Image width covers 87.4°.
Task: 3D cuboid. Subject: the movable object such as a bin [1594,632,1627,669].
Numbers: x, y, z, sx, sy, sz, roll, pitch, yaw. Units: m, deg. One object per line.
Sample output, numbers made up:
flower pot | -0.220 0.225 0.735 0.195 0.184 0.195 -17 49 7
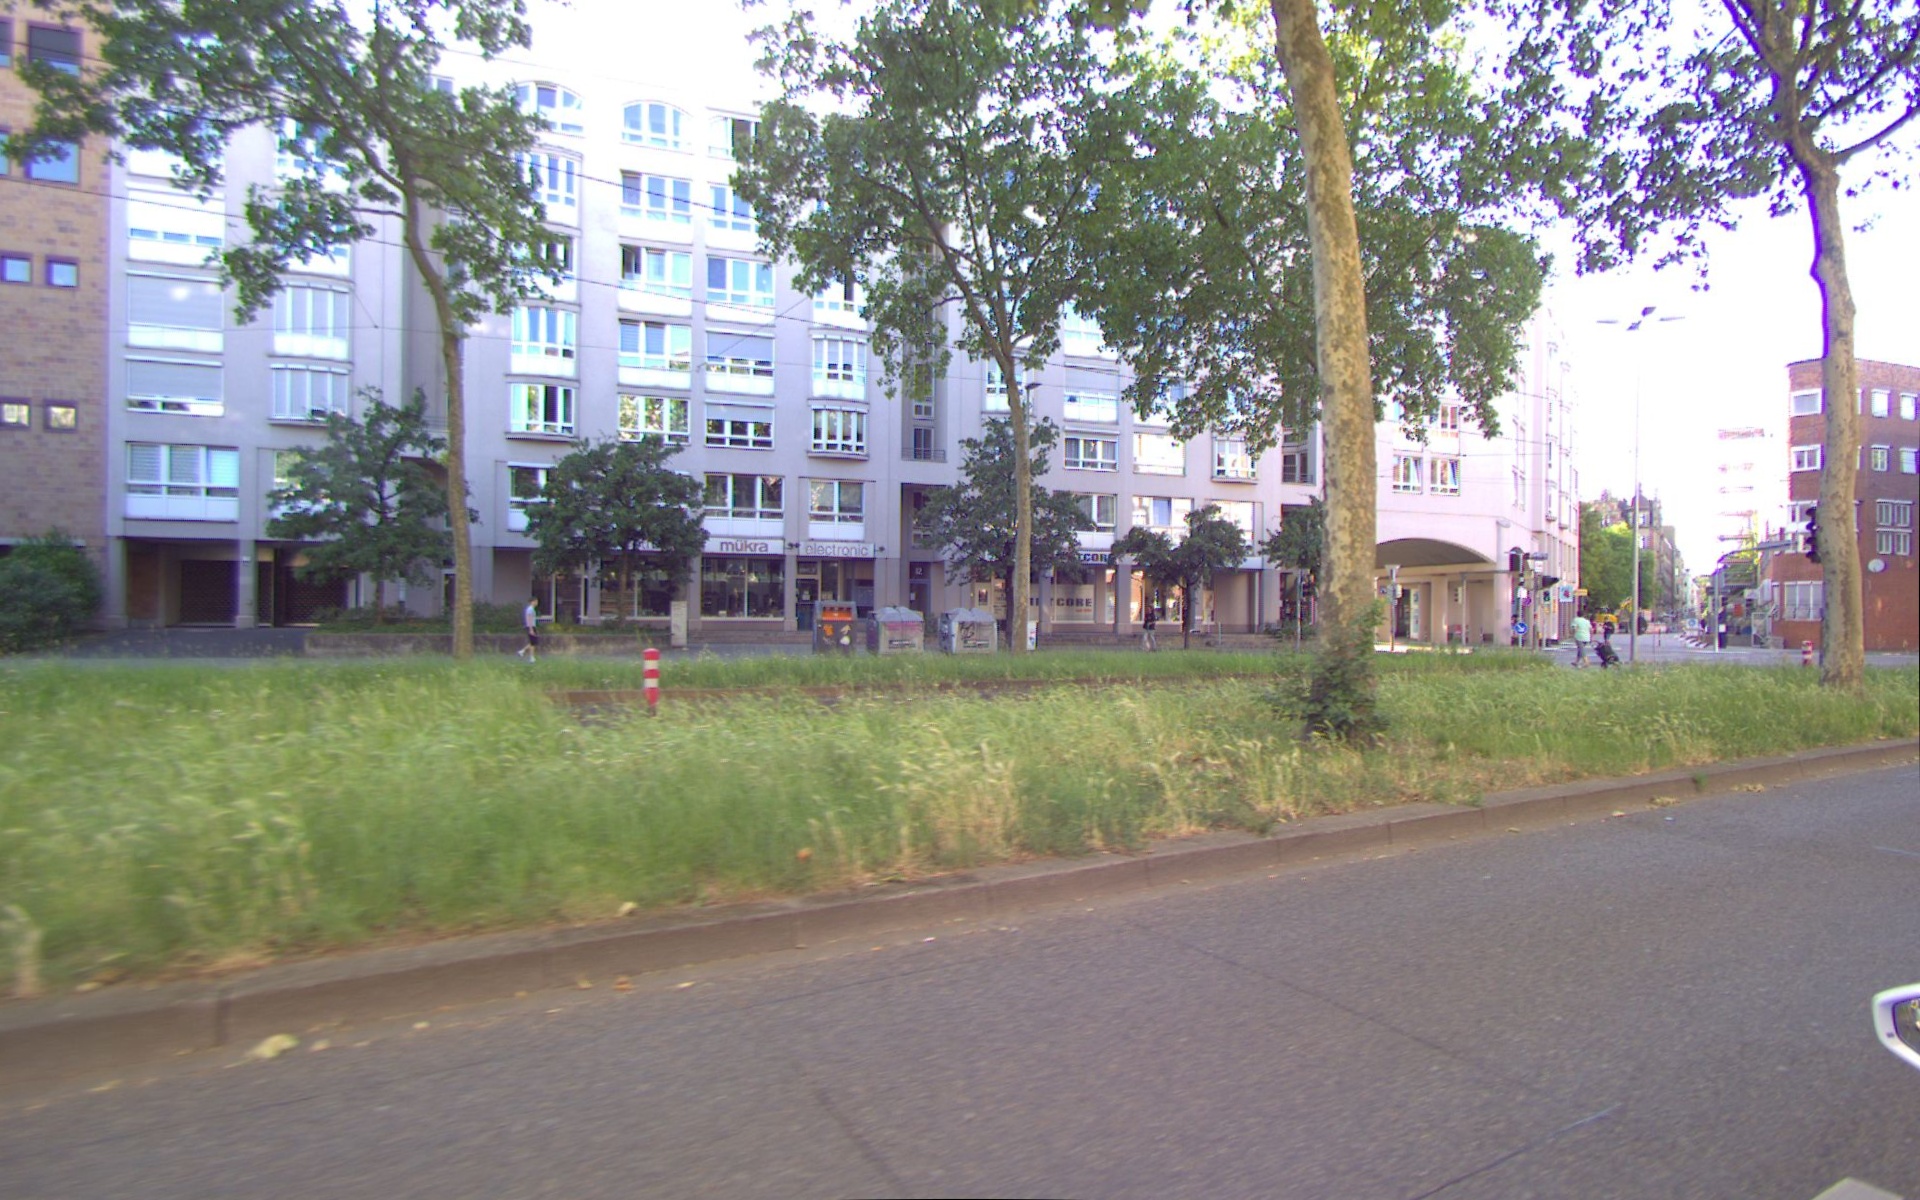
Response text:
movable object such as a bin | 17.144 1.324 26.486 0.530 0.966 0.510 1 0 -16

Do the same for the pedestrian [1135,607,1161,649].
pedestrian | 7.568 1.134 40.406 0.776 1.660 0.706 1 0 -18

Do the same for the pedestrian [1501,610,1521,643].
pedestrian | 34.684 1.679 63.222 0.881 2.040 0.827 1 -1 -42

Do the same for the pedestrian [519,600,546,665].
pedestrian | -11.818 0.893 27.780 0.639 1.763 0.726 1 0 -25

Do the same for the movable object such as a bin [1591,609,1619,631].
movable object such as a bin | 69.916 2.157 108.869 2.769 2.341 1.908 1 -1 -44

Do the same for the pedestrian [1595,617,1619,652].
pedestrian | 35.084 1.880 54.433 0.743 1.894 0.852 1 -1 -28

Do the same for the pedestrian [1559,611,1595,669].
pedestrian | 16.588 1.062 27.001 0.526 1.523 0.618 1 0 -16
